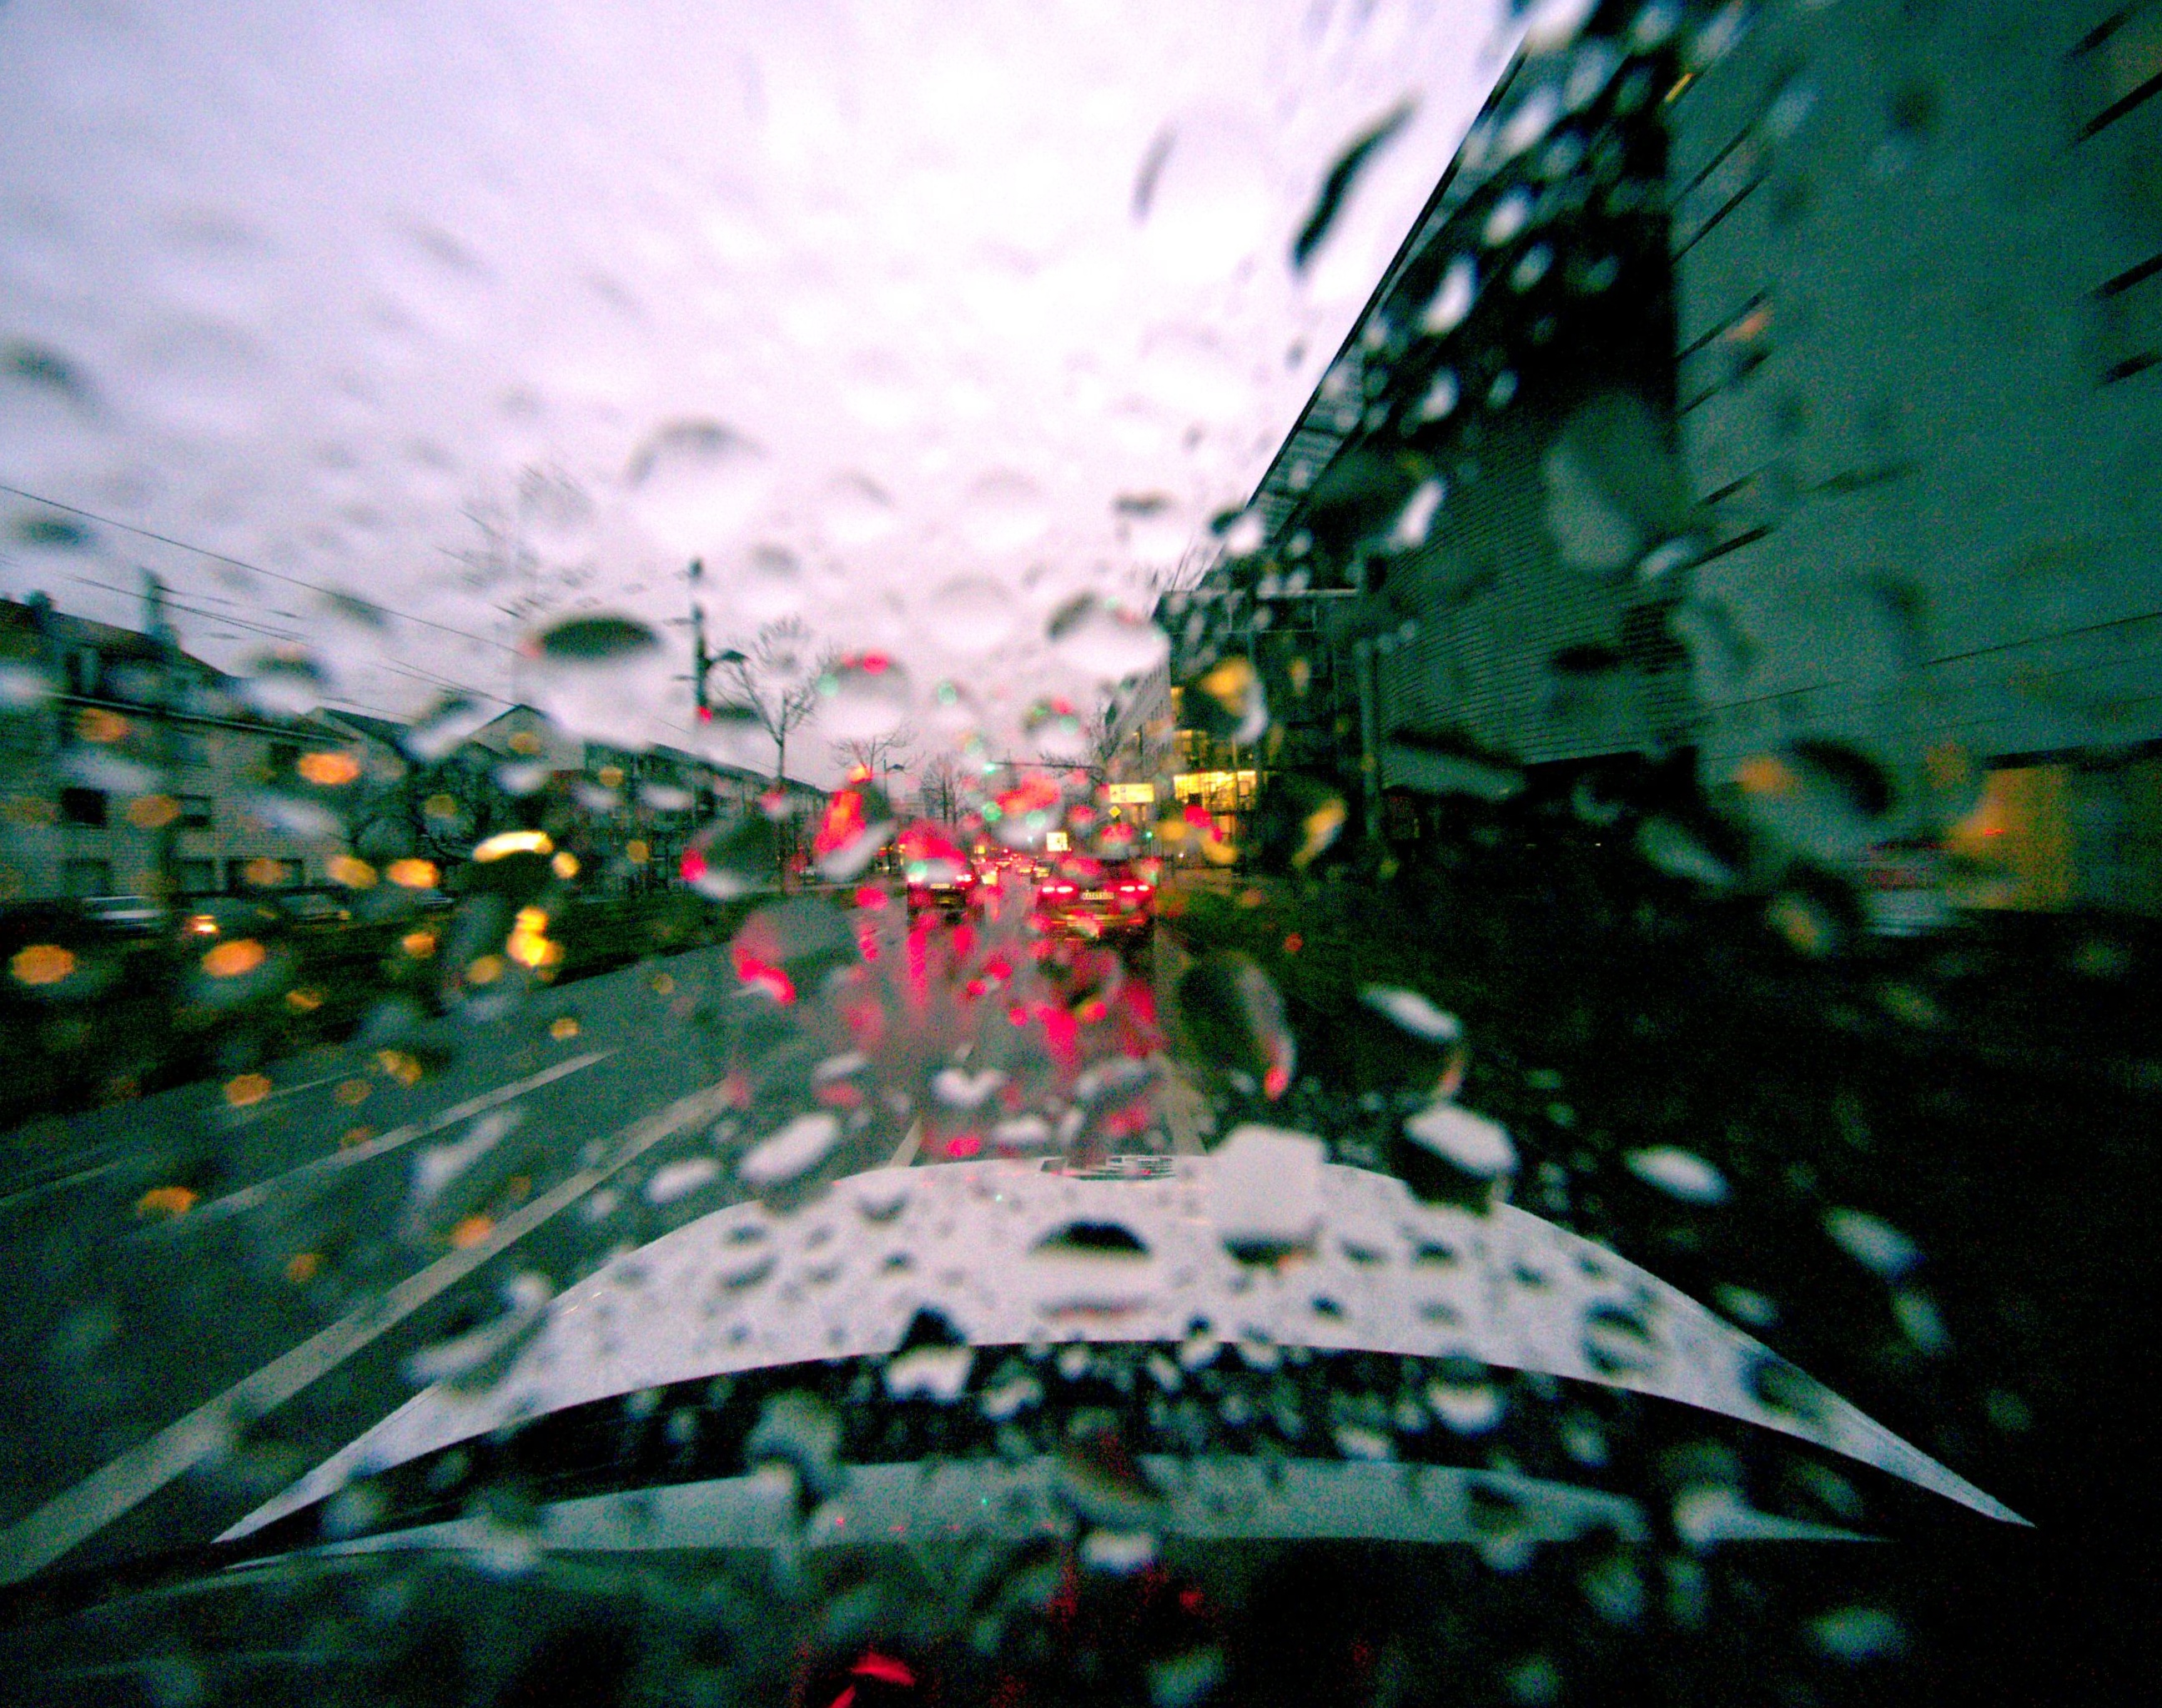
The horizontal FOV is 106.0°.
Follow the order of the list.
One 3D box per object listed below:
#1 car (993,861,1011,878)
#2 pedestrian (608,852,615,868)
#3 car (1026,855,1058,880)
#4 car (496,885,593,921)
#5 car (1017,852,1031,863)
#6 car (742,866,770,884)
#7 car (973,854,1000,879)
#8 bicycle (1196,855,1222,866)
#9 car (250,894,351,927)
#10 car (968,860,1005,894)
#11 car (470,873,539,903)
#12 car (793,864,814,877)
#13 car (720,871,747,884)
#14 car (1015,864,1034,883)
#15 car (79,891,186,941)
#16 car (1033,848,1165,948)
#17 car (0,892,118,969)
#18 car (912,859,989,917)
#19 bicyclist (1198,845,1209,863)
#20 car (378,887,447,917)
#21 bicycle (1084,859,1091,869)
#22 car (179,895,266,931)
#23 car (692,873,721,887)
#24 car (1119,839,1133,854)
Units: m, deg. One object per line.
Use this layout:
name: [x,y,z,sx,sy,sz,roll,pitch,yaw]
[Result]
car: [-9.864,1.885,102.317,1.988,2.013,3.997,-1,0,-2]
pedestrian: [-35.198,0.479,60.995,0.348,1.184,0.429,0,-1,-44]
car: [-2.503,0.841,53.141,1.861,1.543,3.610,-1,0,0]
car: [-26.512,2.367,40.474,1.876,1.502,4.783,-1,0,-4]
car: [-8.973,0.591,128.007,1.988,1.715,3.421,-1,0,-2]
car: [-37.409,2.385,93.931,1.991,2.013,3.991,-1,0,-7]
car: [-6.855,0.891,59.206,1.658,1.759,3.565,-1,-1,-2]
bicycle: [9.272,0.455,58.974,1.712,0.745,0.655,-1,0,30]
car: [-31.436,2.242,32.786,4.137,1.116,1.691,-1,0,27]
car: [-4.795,1.157,41.651,1.686,1.635,3.469,-1,0,-3]
car: [-32.483,1.890,45.876,3.750,1.555,1.753,-1,0,29]
car: [-37.455,2.212,109.989,1.930,1.597,3.719,-1,0,-6]
car: [-35.968,2.445,84.363,1.442,1.287,3.381,-1,0,-4]
car: [-5.021,1.706,72.284,1.611,1.522,3.404,-1,0,-3]
car: [-31.242,1.982,26.800,4.071,1.378,1.784,-1,0,33]
car: [0.179,0.669,14.176,1.989,1.483,3.695,-1,0,-3]
car: [-25.244,1.794,18.928,1.610,1.623,3.505,-1,0,-3]
car: [-3.592,0.891,23.015,1.814,1.450,3.993,-1,0,-5]
bicyclist: [8.923,-0.007,59.206,0.615,1.330,0.569,-1,0,30]
car: [-32.463,2.319,39.518,3.719,1.337,1.462,-2,0,32]
bicycle: [0.642,0.919,77.306,0.544,0.965,1.343,-1,0,-6]
car: [-31.424,2.134,29.791,3.006,1.147,1.405,-1,0,27]
car: [-36.104,2.512,78.620,1.442,1.287,3.381,-1,0,-4]
car: [5.355,-0.916,97.036,1.621,1.759,3.423,-1,0,2]
